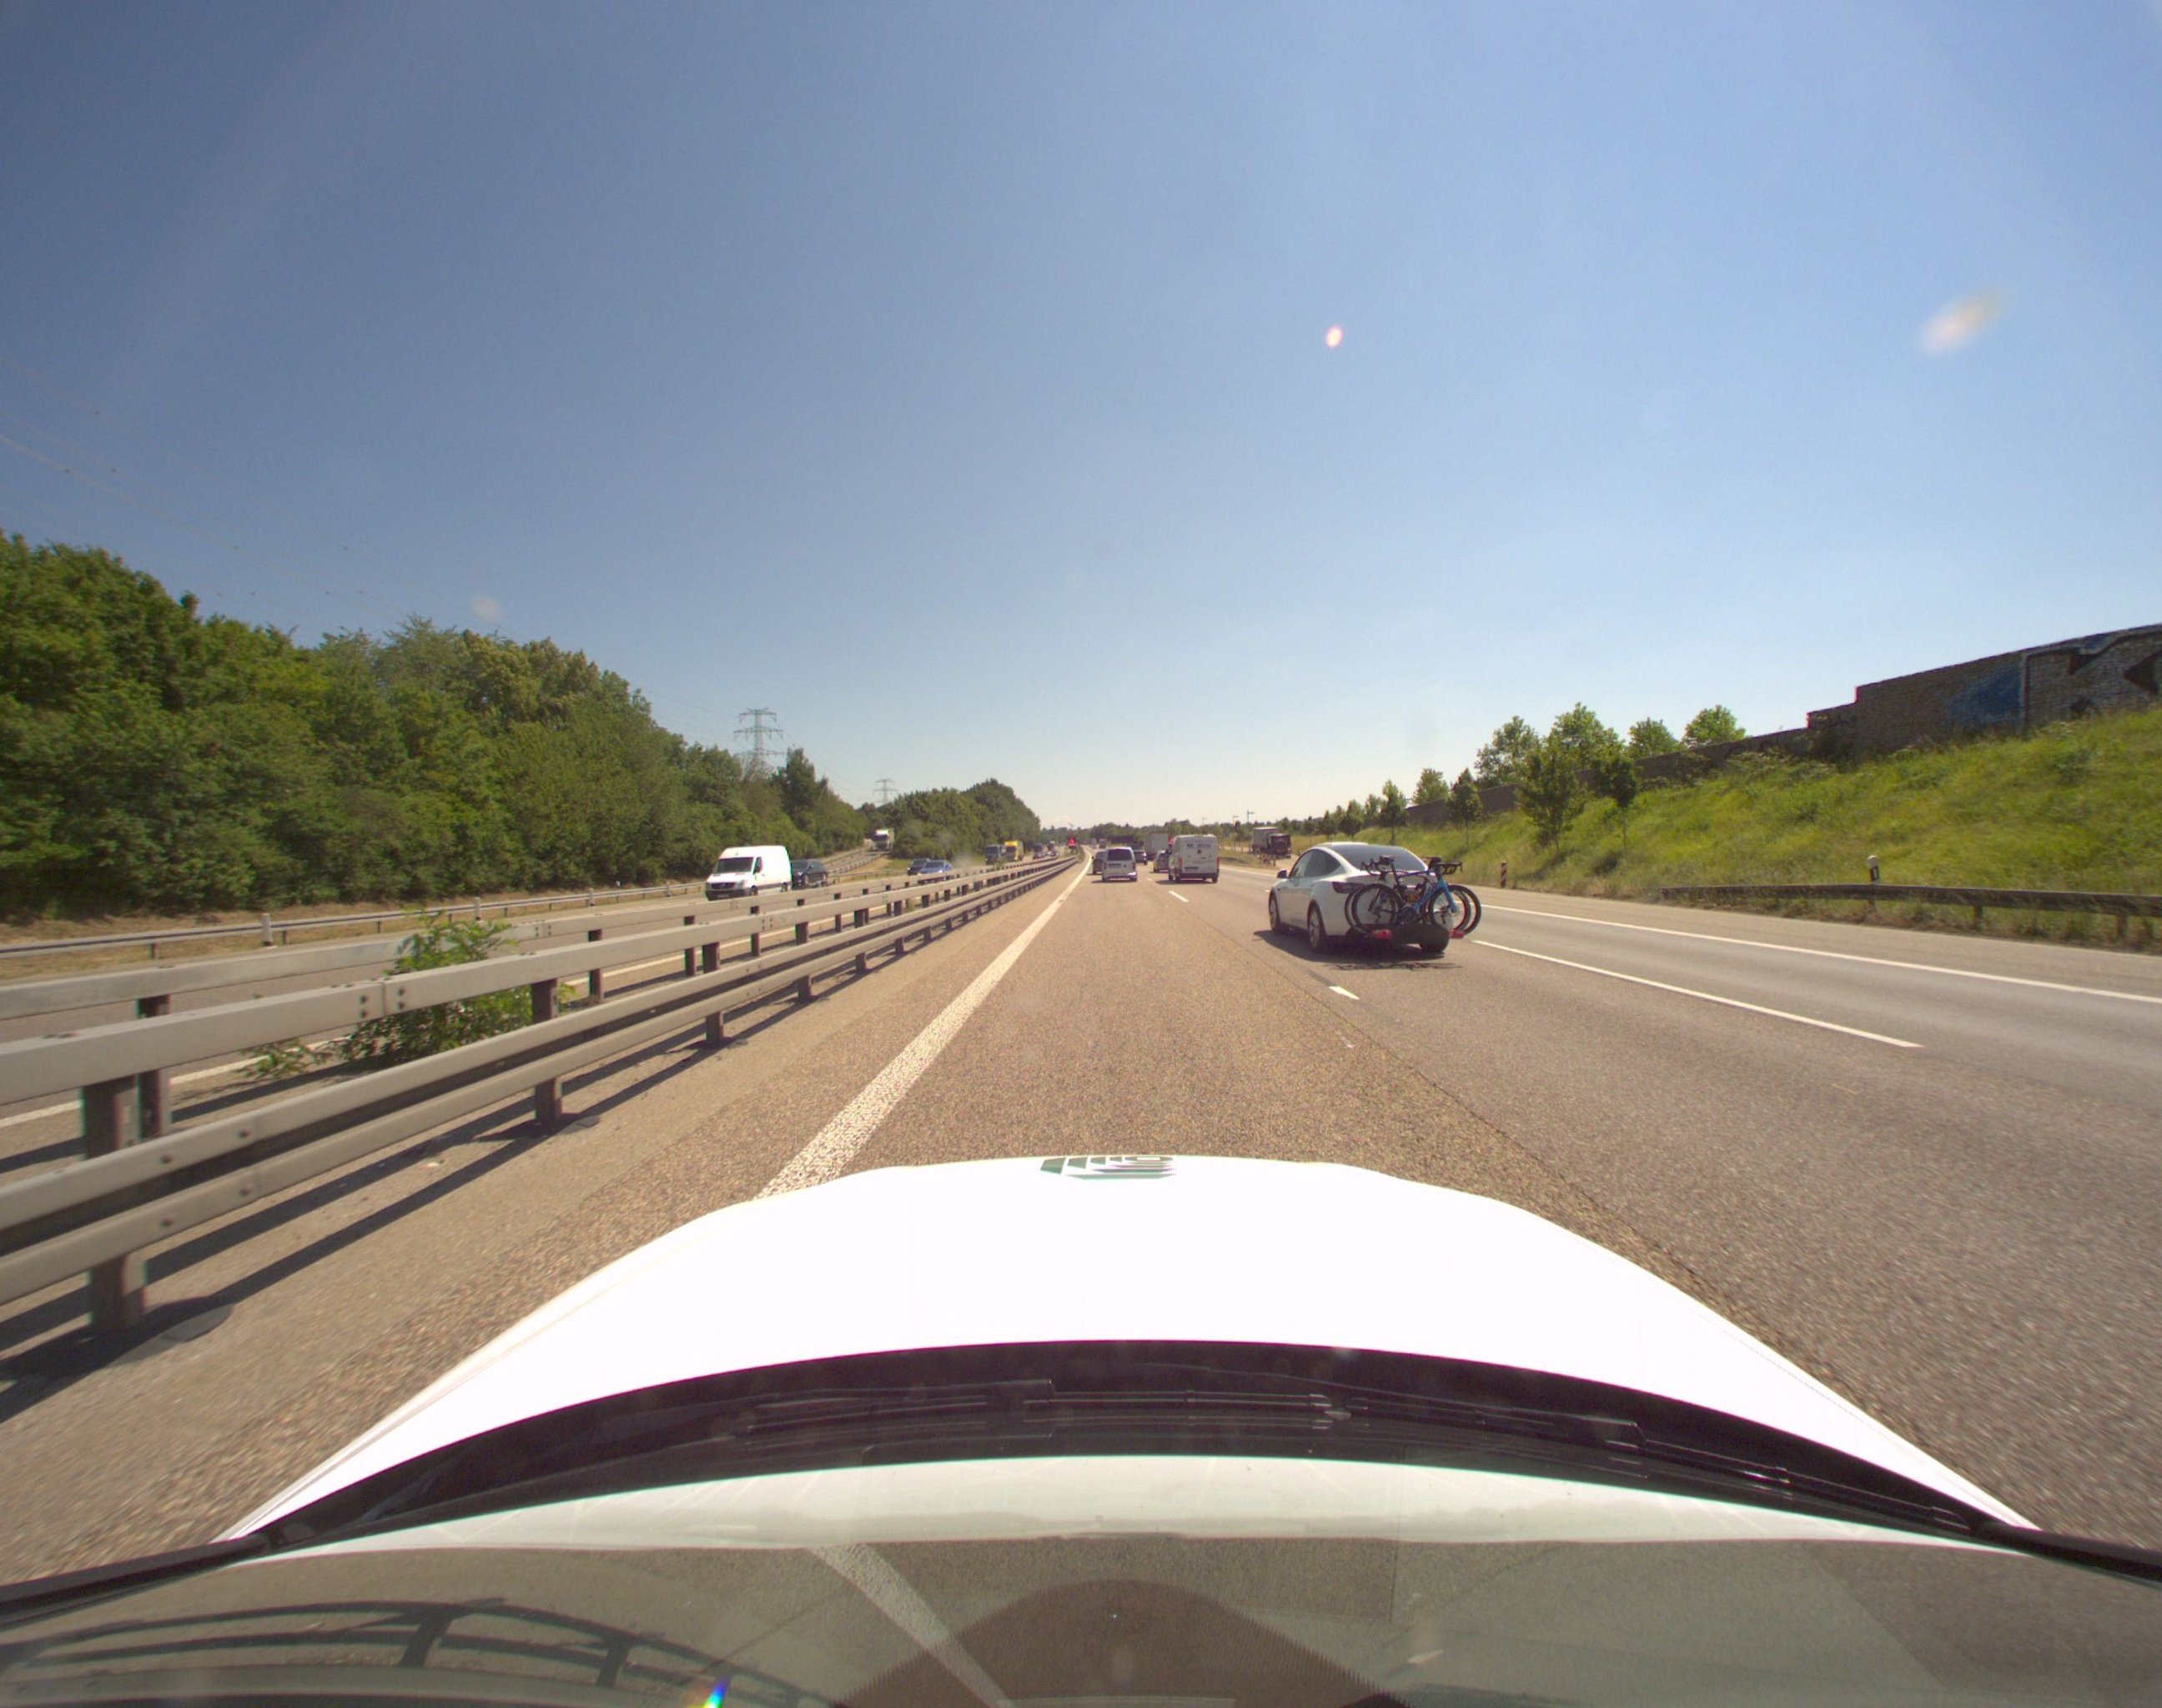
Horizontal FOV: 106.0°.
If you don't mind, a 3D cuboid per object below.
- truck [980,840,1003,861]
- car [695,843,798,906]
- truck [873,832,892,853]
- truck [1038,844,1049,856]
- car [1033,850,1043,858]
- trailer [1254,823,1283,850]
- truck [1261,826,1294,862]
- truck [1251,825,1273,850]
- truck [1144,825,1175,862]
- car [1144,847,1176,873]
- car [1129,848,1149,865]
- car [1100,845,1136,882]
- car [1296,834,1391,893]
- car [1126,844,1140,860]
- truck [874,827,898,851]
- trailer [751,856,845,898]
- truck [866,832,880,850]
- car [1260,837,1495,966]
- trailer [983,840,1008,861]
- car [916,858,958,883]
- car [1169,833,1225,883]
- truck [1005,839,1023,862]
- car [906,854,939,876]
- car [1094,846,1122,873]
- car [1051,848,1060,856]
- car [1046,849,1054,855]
[{"bbox_3d":[-14.614,-0.561,132.942,2.903,3.300,5.332,-2,0,1],"label":"truck"},{"bbox_3d":[-15.598,0.877,38.453,2.102,2.639,6.006,-3,0,1],"label":"car"},{"bbox_3d":[-38.699,-2.293,158.726,2.941,3.894,4.314,-2,2,-7],"label":"truck"},{"bbox_3d":[-11.804,-1.198,256.758,2.986,3.558,3.118,-2,0,0],"label":"truck"},{"bbox_3d":[-8.985,0.034,170.453,1.776,1.530,4.385,-5,0,1],"label":"car"},{"bbox_3d":[30.527,-2.784,133.311,3.036,4.083,14.284,0,0,6],"label":"trailer"},{"bbox_3d":[24.393,-1.185,101.388,3.762,4.083,12.563,0,0,13],"label":"truck"},{"bbox_3d":[31.445,-2.830,141.370,3.036,4.083,6.409,0,0,6],"label":"truck"},{"bbox_3d":[11.285,-1.495,118.703,3.774,4.999,12.524,0,0,2],"label":"truck"},{"bbox_3d":[5.561,0.387,57.869,1.968,1.733,4.090,-2,0,2],"label":"car"},{"bbox_3d":[6.131,0.257,86.097,1.894,1.672,4.090,-2,0,2],"label":"car"},{"bbox_3d":[1.914,0.469,42.481,1.738,1.764,4.090,-2,0,2],"label":"car"},{"bbox_3d":[9.088,0.297,28.588,1.944,1.837,4.177,-2,0,0],"label":"car"},{"bbox_3d":[6.607,-0.283,104.042,1.668,1.891,4.090,-2,0,2],"label":"car"},{"bbox_3d":[-39.610,-3.166,166.198,2.993,4.340,14.513,-2,3,-7],"label":"truck"},{"bbox_3d":[-15.362,1.166,44.815,2.756,1.945,6.721,-3,0,-1],"label":"trailer"},{"bbox_3d":[-49.324,-3.065,193.182,2.550,4.007,11.746,0,0,-11],"label":"truck"},{"bbox_3d":[4.409,0.597,13.223,1.943,1.636,5.603,0,0,2],"label":"car"},{"bbox_3d":[-14.486,-0.624,138.845,2.903,3.300,9.713,-2,0,1],"label":"trailer"},{"bbox_3d":[-9.307,1.038,53.051,1.775,1.473,4.357,-1,0,2],"label":"car"},{"bbox_3d":[5.630,0.161,40.224,2.173,2.254,5.366,-1,0,2],"label":"car"},{"bbox_3d":[-12.999,-0.697,157.940,3.165,4.341,3.512,-2,0,-1],"label":"truck"},{"bbox_3d":[-14.575,1.012,75.232,2.151,1.800,4.512,-3,0,-1],"label":"car"},{"bbox_3d":[1.818,0.369,55.034,1.738,1.701,4.091,-2,0,2],"label":"car"},{"bbox_3d":[-5.474,-0.411,176.579,1.775,1.624,4.001,-2,0,1],"label":"car"},{"bbox_3d":[-8.806,-0.622,230.071,1.776,1.530,3.884,-5,0,1],"label":"car"}]
